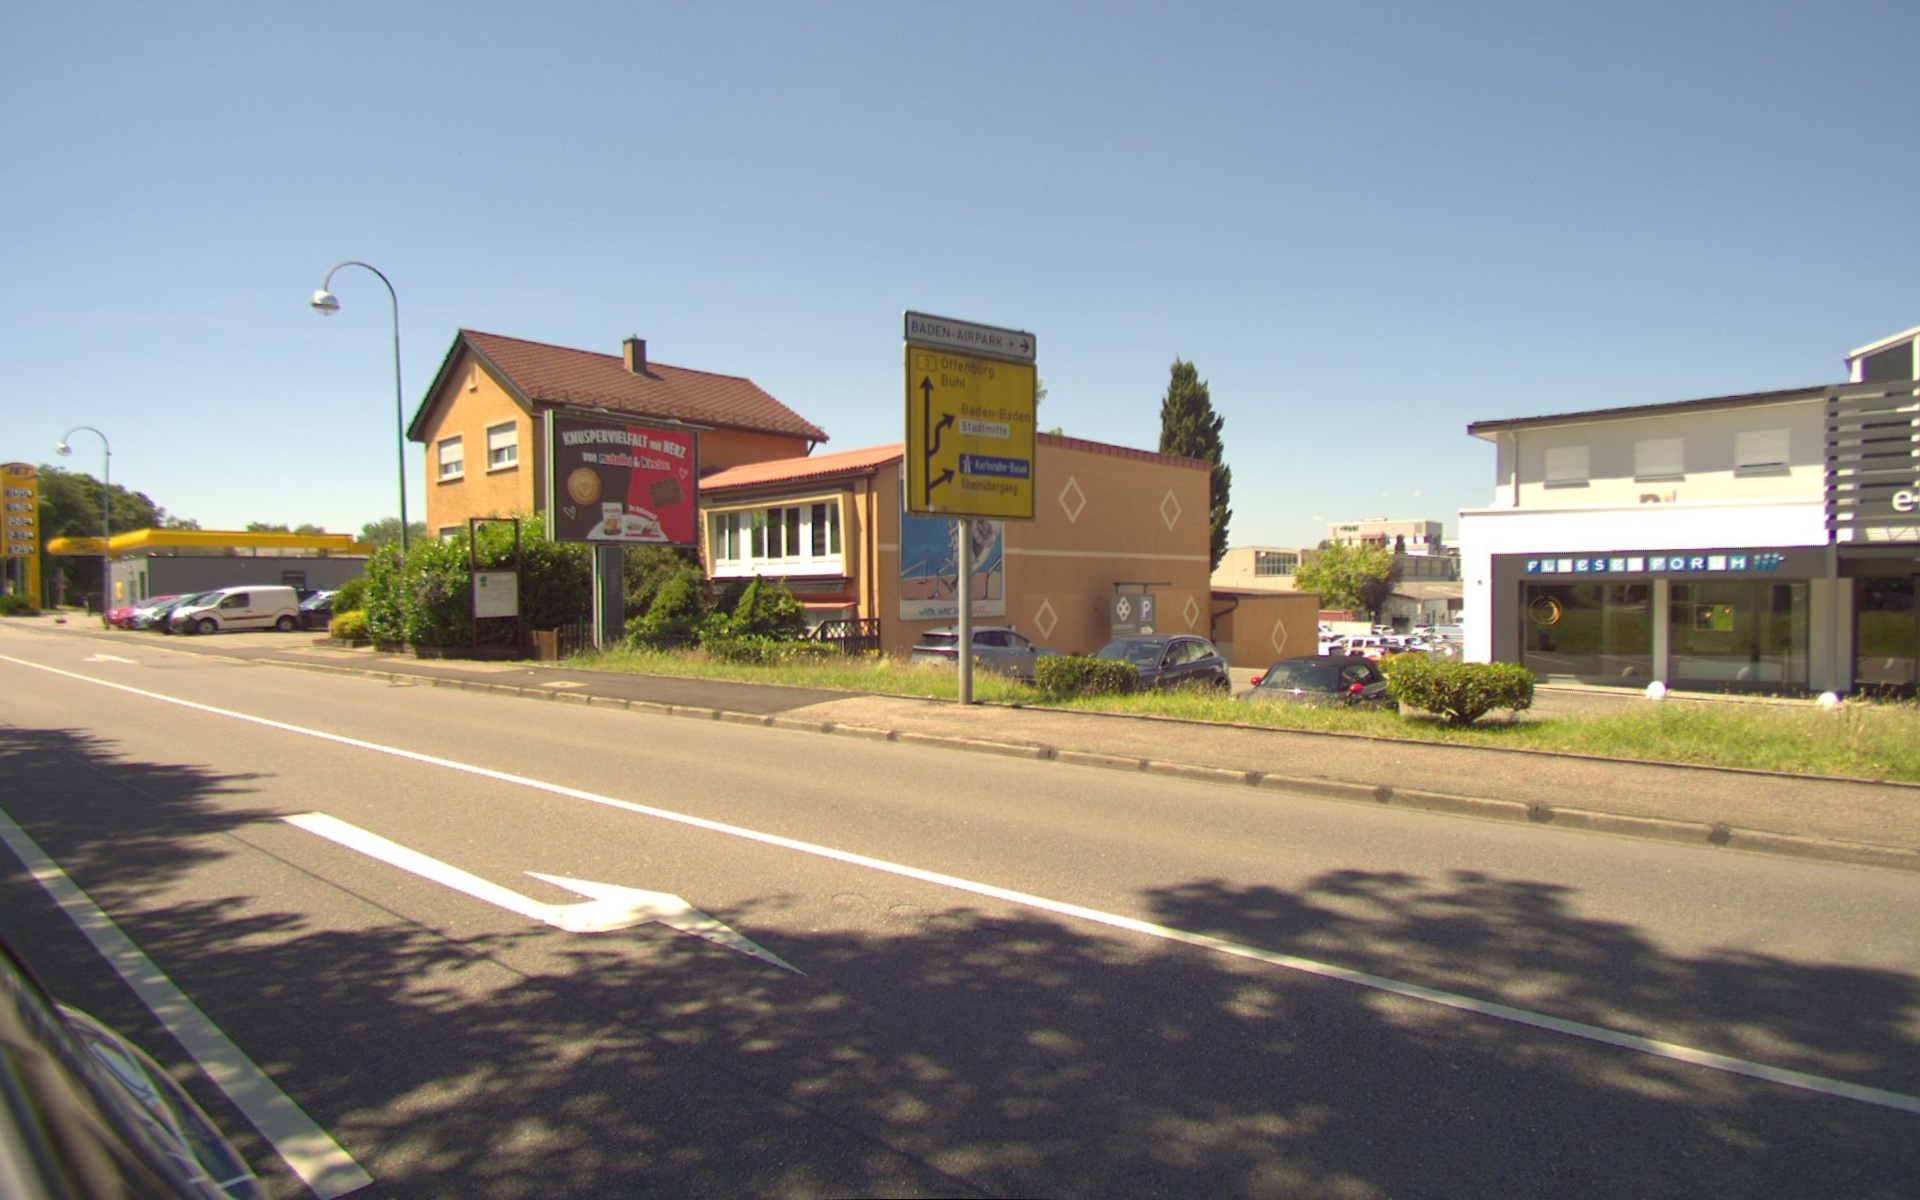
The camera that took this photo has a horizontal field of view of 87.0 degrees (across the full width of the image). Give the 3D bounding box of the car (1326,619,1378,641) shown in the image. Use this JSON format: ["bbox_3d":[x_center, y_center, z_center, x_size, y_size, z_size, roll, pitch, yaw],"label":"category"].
[{"bbox_3d":[33.082,2.531,85.395,3.774,1.768,1.707,0,0,44],"label":"car"}]

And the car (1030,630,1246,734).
[{"bbox_3d":[3.491,1.451,19.303,4.462,1.654,1.773,0,0,-44],"label":"car"}]

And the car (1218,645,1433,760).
[{"bbox_3d":[6.194,1.599,16.938,4.039,1.544,1.773,0,0,-44],"label":"car"}]

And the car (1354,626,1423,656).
[{"bbox_3d":[27.441,2.584,64.869,3.774,1.768,1.707,0,0,44],"label":"car"}]

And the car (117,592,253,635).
[{"bbox_3d":[-33.550,0.571,43.935,1.871,1.773,4.351,0,0,35],"label":"car"}]

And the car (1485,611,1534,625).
[{"bbox_3d":[70.745,2.289,130.369,5.304,1.768,2.036,0,0,44],"label":"car"}]

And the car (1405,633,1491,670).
[{"bbox_3d":[25.727,2.704,53.413,3.774,1.768,1.707,0,0,44],"label":"car"}]

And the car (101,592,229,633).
[{"bbox_3d":[-36.848,0.558,47.018,1.871,1.773,4.351,0,0,35],"label":"car"}]

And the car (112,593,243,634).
[{"bbox_3d":[-35.228,0.579,45.649,1.871,1.773,4.351,0,0,35],"label":"car"}]

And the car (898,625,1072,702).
[{"bbox_3d":[0.661,1.460,24.541,4.165,1.621,1.773,0,0,-42],"label":"car"}]

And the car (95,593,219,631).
[{"bbox_3d":[-38.610,0.564,48.778,1.871,1.773,4.351,0,0,35],"label":"car"}]

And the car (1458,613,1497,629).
[{"bbox_3d":[60.848,2.497,119.117,3.774,1.768,1.707,0,-1,43],"label":"car"}]

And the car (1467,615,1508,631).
[{"bbox_3d":[58.277,2.516,111.815,3.774,1.768,1.707,0,0,44],"label":"car"}]

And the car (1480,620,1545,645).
[{"bbox_3d":[41.725,2.452,76.495,4.056,1.768,1.707,0,0,44],"label":"car"}]

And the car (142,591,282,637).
[{"bbox_3d":[-30.198,0.554,40.944,1.871,1.773,4.197,0,0,35],"label":"car"}]

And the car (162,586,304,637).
[{"bbox_3d":[-28.434,0.448,39.699,1.871,1.883,4.143,0,0,35],"label":"car"}]

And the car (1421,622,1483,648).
[{"bbox_3d":[35.723,2.497,73.549,3.774,1.768,1.707,0,0,44],"label":"car"}]

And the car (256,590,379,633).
[{"bbox_3d":[-28.973,0.510,45.753,1.871,1.839,4.351,0,0,35],"label":"car"}]

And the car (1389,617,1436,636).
[{"bbox_3d":[43.943,2.547,98.309,3.774,1.768,1.707,0,1,44],"label":"car"}]

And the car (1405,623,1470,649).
[{"bbox_3d":[33.707,2.519,71.476,3.774,1.768,1.707,0,0,44],"label":"car"}]

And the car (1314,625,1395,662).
[{"bbox_3d":[23.234,2.529,59.702,4.001,2.029,1.971,0,0,44],"label":"car"}]

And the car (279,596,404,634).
[{"bbox_3d":[-27.097,0.616,44.459,1.871,1.575,4.351,0,0,35],"label":"car"}]
